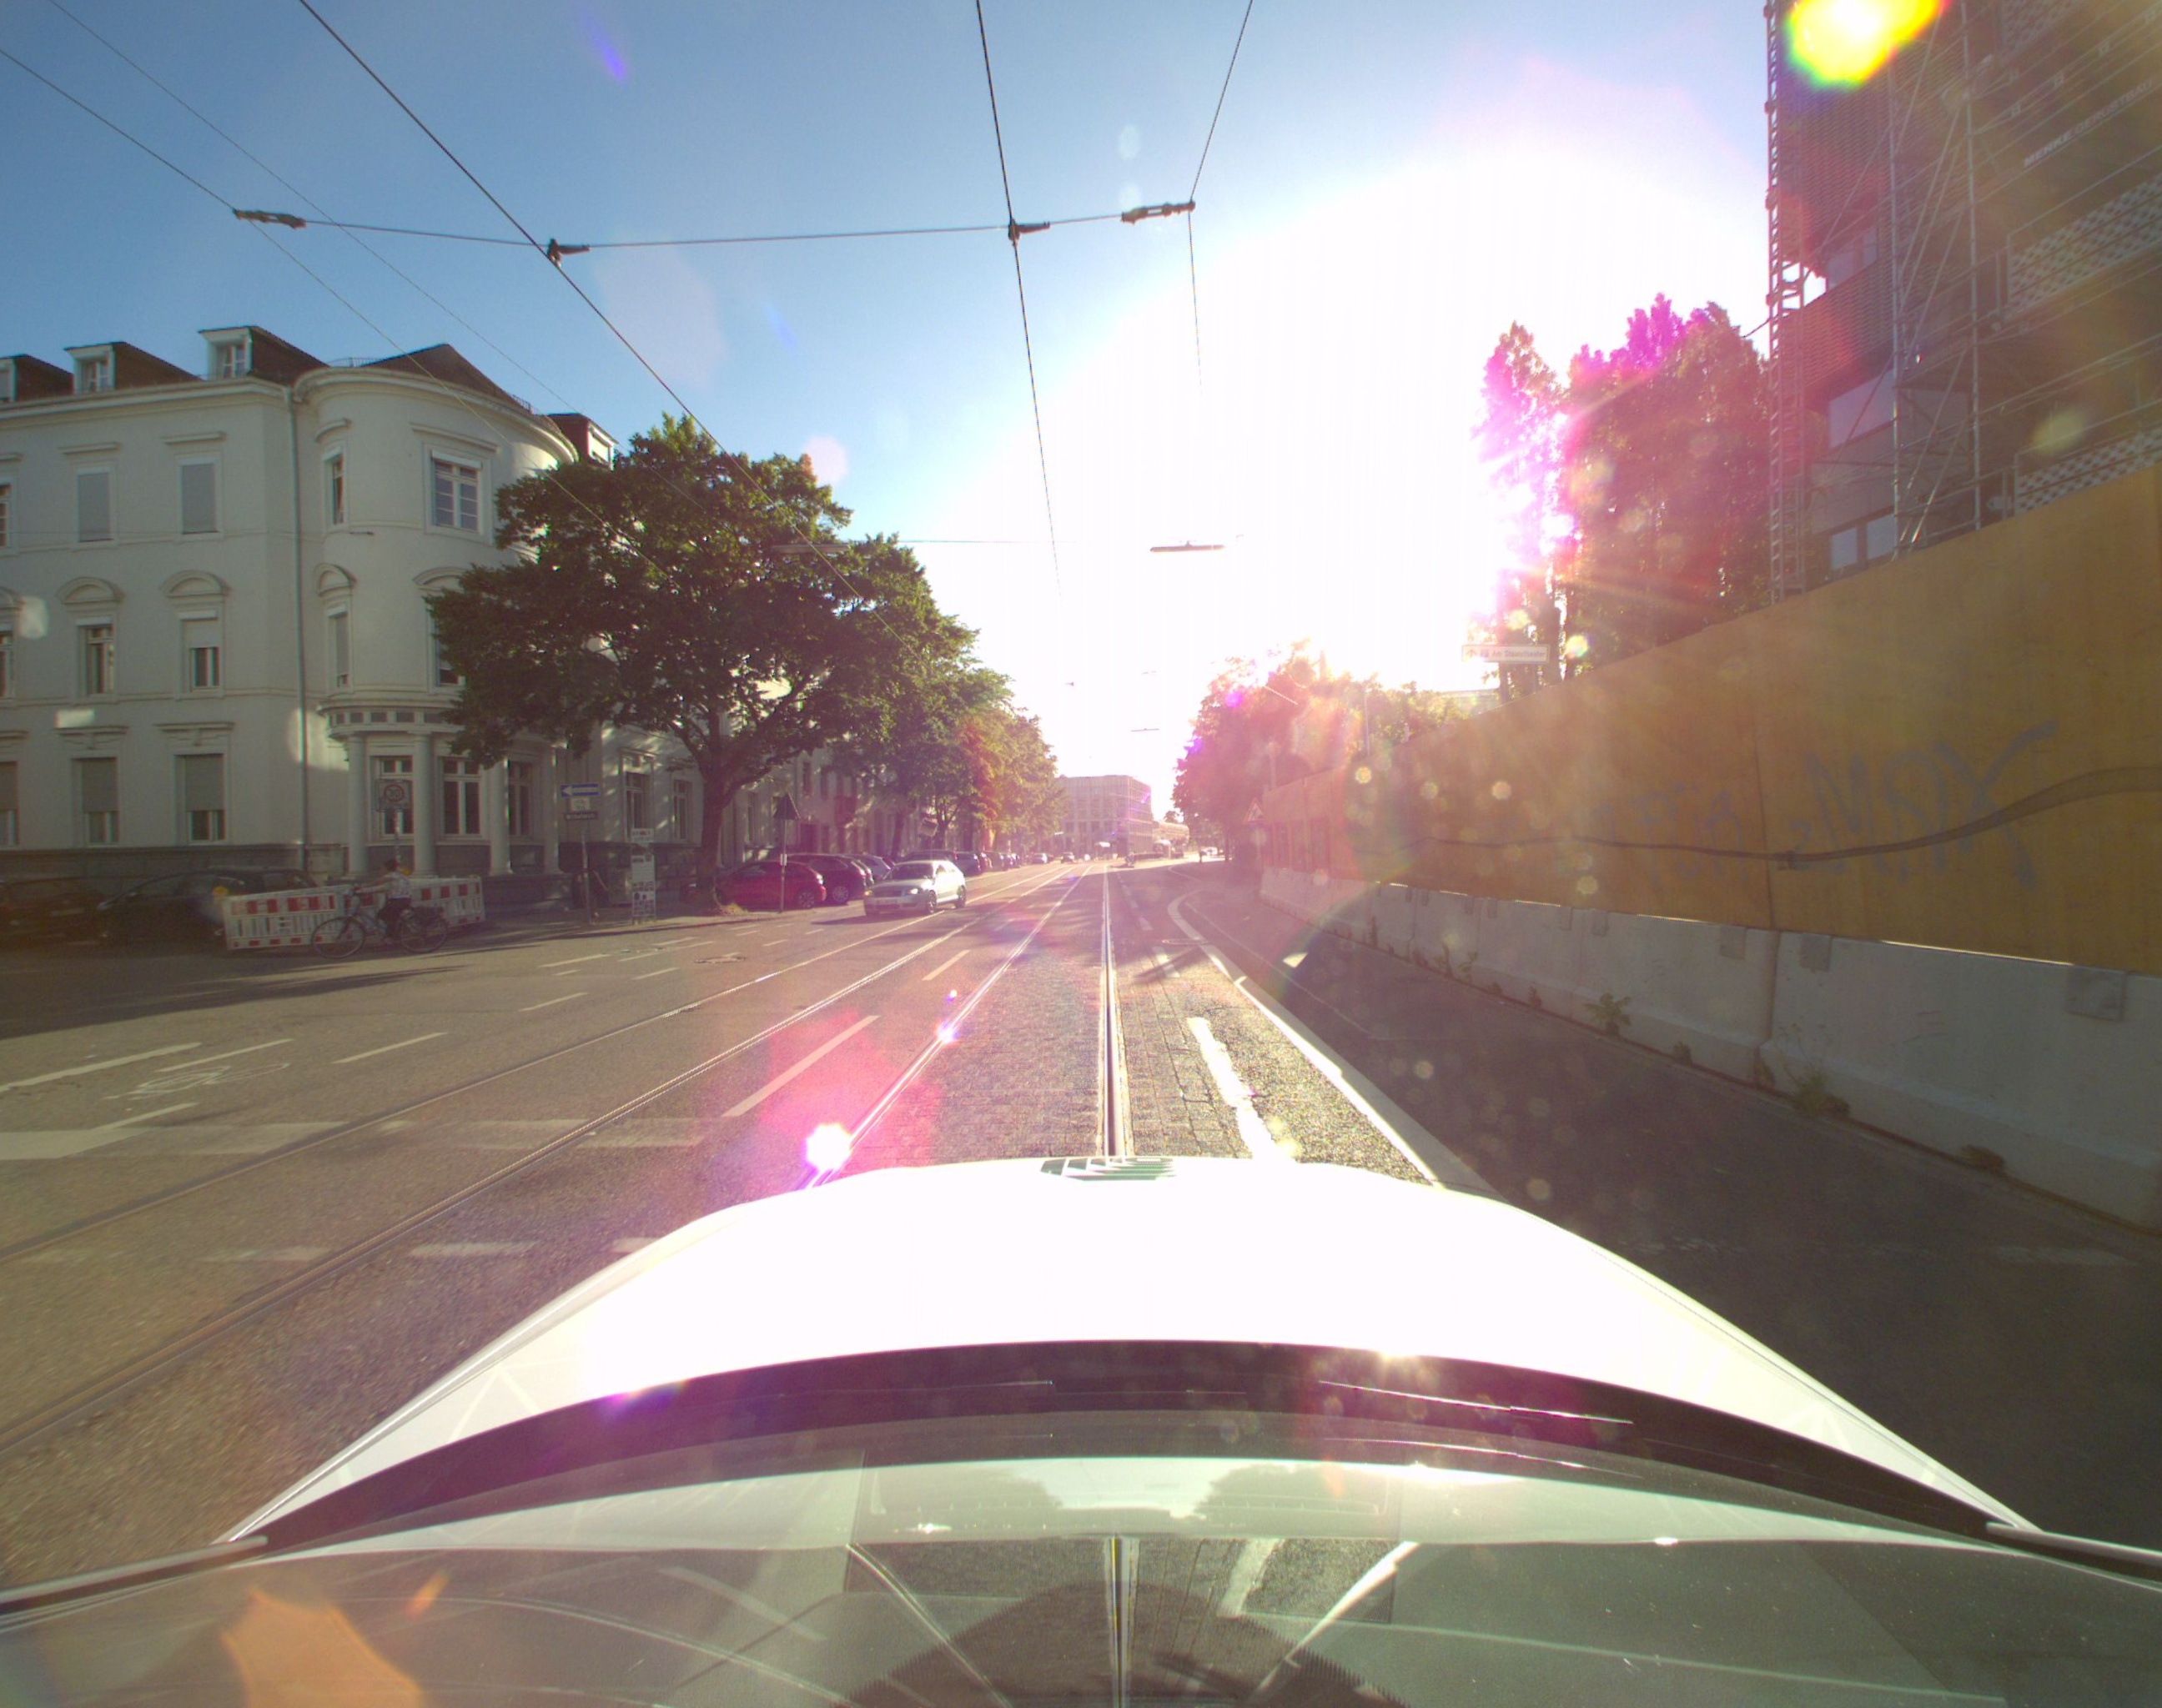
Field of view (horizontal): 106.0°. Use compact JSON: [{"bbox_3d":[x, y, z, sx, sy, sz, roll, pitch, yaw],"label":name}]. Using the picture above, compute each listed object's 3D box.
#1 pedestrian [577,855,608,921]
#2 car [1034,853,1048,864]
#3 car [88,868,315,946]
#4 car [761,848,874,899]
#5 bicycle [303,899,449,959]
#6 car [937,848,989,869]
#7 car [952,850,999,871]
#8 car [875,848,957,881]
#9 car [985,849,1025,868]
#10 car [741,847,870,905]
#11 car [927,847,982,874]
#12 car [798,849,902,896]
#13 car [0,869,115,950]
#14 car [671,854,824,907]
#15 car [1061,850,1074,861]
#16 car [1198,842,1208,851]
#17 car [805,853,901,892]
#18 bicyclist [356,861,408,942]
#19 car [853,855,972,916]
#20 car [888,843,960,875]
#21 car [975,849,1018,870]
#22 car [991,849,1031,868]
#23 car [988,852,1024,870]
[{"bbox_3d":[-11.775,0.813,19.638,0.342,1.572,0.515,-1,0,30],"label":"pedestrian"},{"bbox_3d":[-5.473,0.612,111.722,1.567,1.490,4.002,-1,0,2],"label":"car"},{"bbox_3d":[-17.942,1.058,16.690,3.222,1.443,1.478,-1,0,6],"label":"car"},{"bbox_3d":[-9.523,0.678,29.520,3.579,1.662,1.720,-2,0,-32],"label":"car"},{"bbox_3d":[-12.348,1.297,14.345,1.910,0.881,0.445,-2,0,-38],"label":"bicycle"},{"bbox_3d":[-8.428,0.341,57.965,3.391,1.419,1.393,-1,0,-27],"label":"car"},{"bbox_3d":[-7.921,0.453,61.097,3.283,1.484,1.460,-1,0,-21],"label":"car"},{"bbox_3d":[-9.153,0.560,45.282,4.181,1.720,1.570,-1,0,-26],"label":"car"},{"bbox_3d":[-6.916,0.381,73.874,3.283,1.585,1.460,-1,0,-21],"label":"car"},{"bbox_3d":[-9.053,0.687,26.859,3.700,1.721,1.594,-2,0,-34],"label":"car"},{"bbox_3d":[-8.531,0.426,55.024,3.391,1.697,1.393,-1,0,-27],"label":"car"},{"bbox_3d":[-9.218,0.706,32.580,3.700,1.721,1.594,-2,0,-34],"label":"car"},{"bbox_3d":[-22.740,1.157,16.964,3.739,1.549,1.478,-1,0,6],"label":"car"},{"bbox_3d":[-9.736,0.740,23.862,3.927,1.453,1.621,0,-1,-32],"label":"car"},{"bbox_3d":[-1.999,0.206,122.064,1.550,1.530,4.007,-1,0,6],"label":"car"},{"bbox_3d":[28.500,-1.848,190.193,1.980,2.013,4.013,-1,0,12],"label":"car"},{"bbox_3d":[-9.858,0.762,35.301,3.700,1.527,1.468,-2,0,-34],"label":"car"},{"bbox_3d":[-12.319,0.823,14.368,0.644,1.378,0.454,-2,0,-38],"label":"bicyclist"},{"bbox_3d":[-4.469,0.786,22.263,1.698,1.436,4.183,-1,0,10],"label":"car"},{"bbox_3d":[-9.309,0.319,48.355,3.851,1.832,1.716,0,-1,-29],"label":"car"},{"bbox_3d":[-7.128,0.454,68.435,3.283,1.698,1.460,-1,0,-21],"label":"car"},{"bbox_3d":[-6.183,0.368,71.810,3.283,1.585,1.460,-1,0,-21],"label":"car"},{"bbox_3d":[-7.499,0.687,81.113,3.283,1.585,1.460,-2,0,-21],"label":"car"}]
